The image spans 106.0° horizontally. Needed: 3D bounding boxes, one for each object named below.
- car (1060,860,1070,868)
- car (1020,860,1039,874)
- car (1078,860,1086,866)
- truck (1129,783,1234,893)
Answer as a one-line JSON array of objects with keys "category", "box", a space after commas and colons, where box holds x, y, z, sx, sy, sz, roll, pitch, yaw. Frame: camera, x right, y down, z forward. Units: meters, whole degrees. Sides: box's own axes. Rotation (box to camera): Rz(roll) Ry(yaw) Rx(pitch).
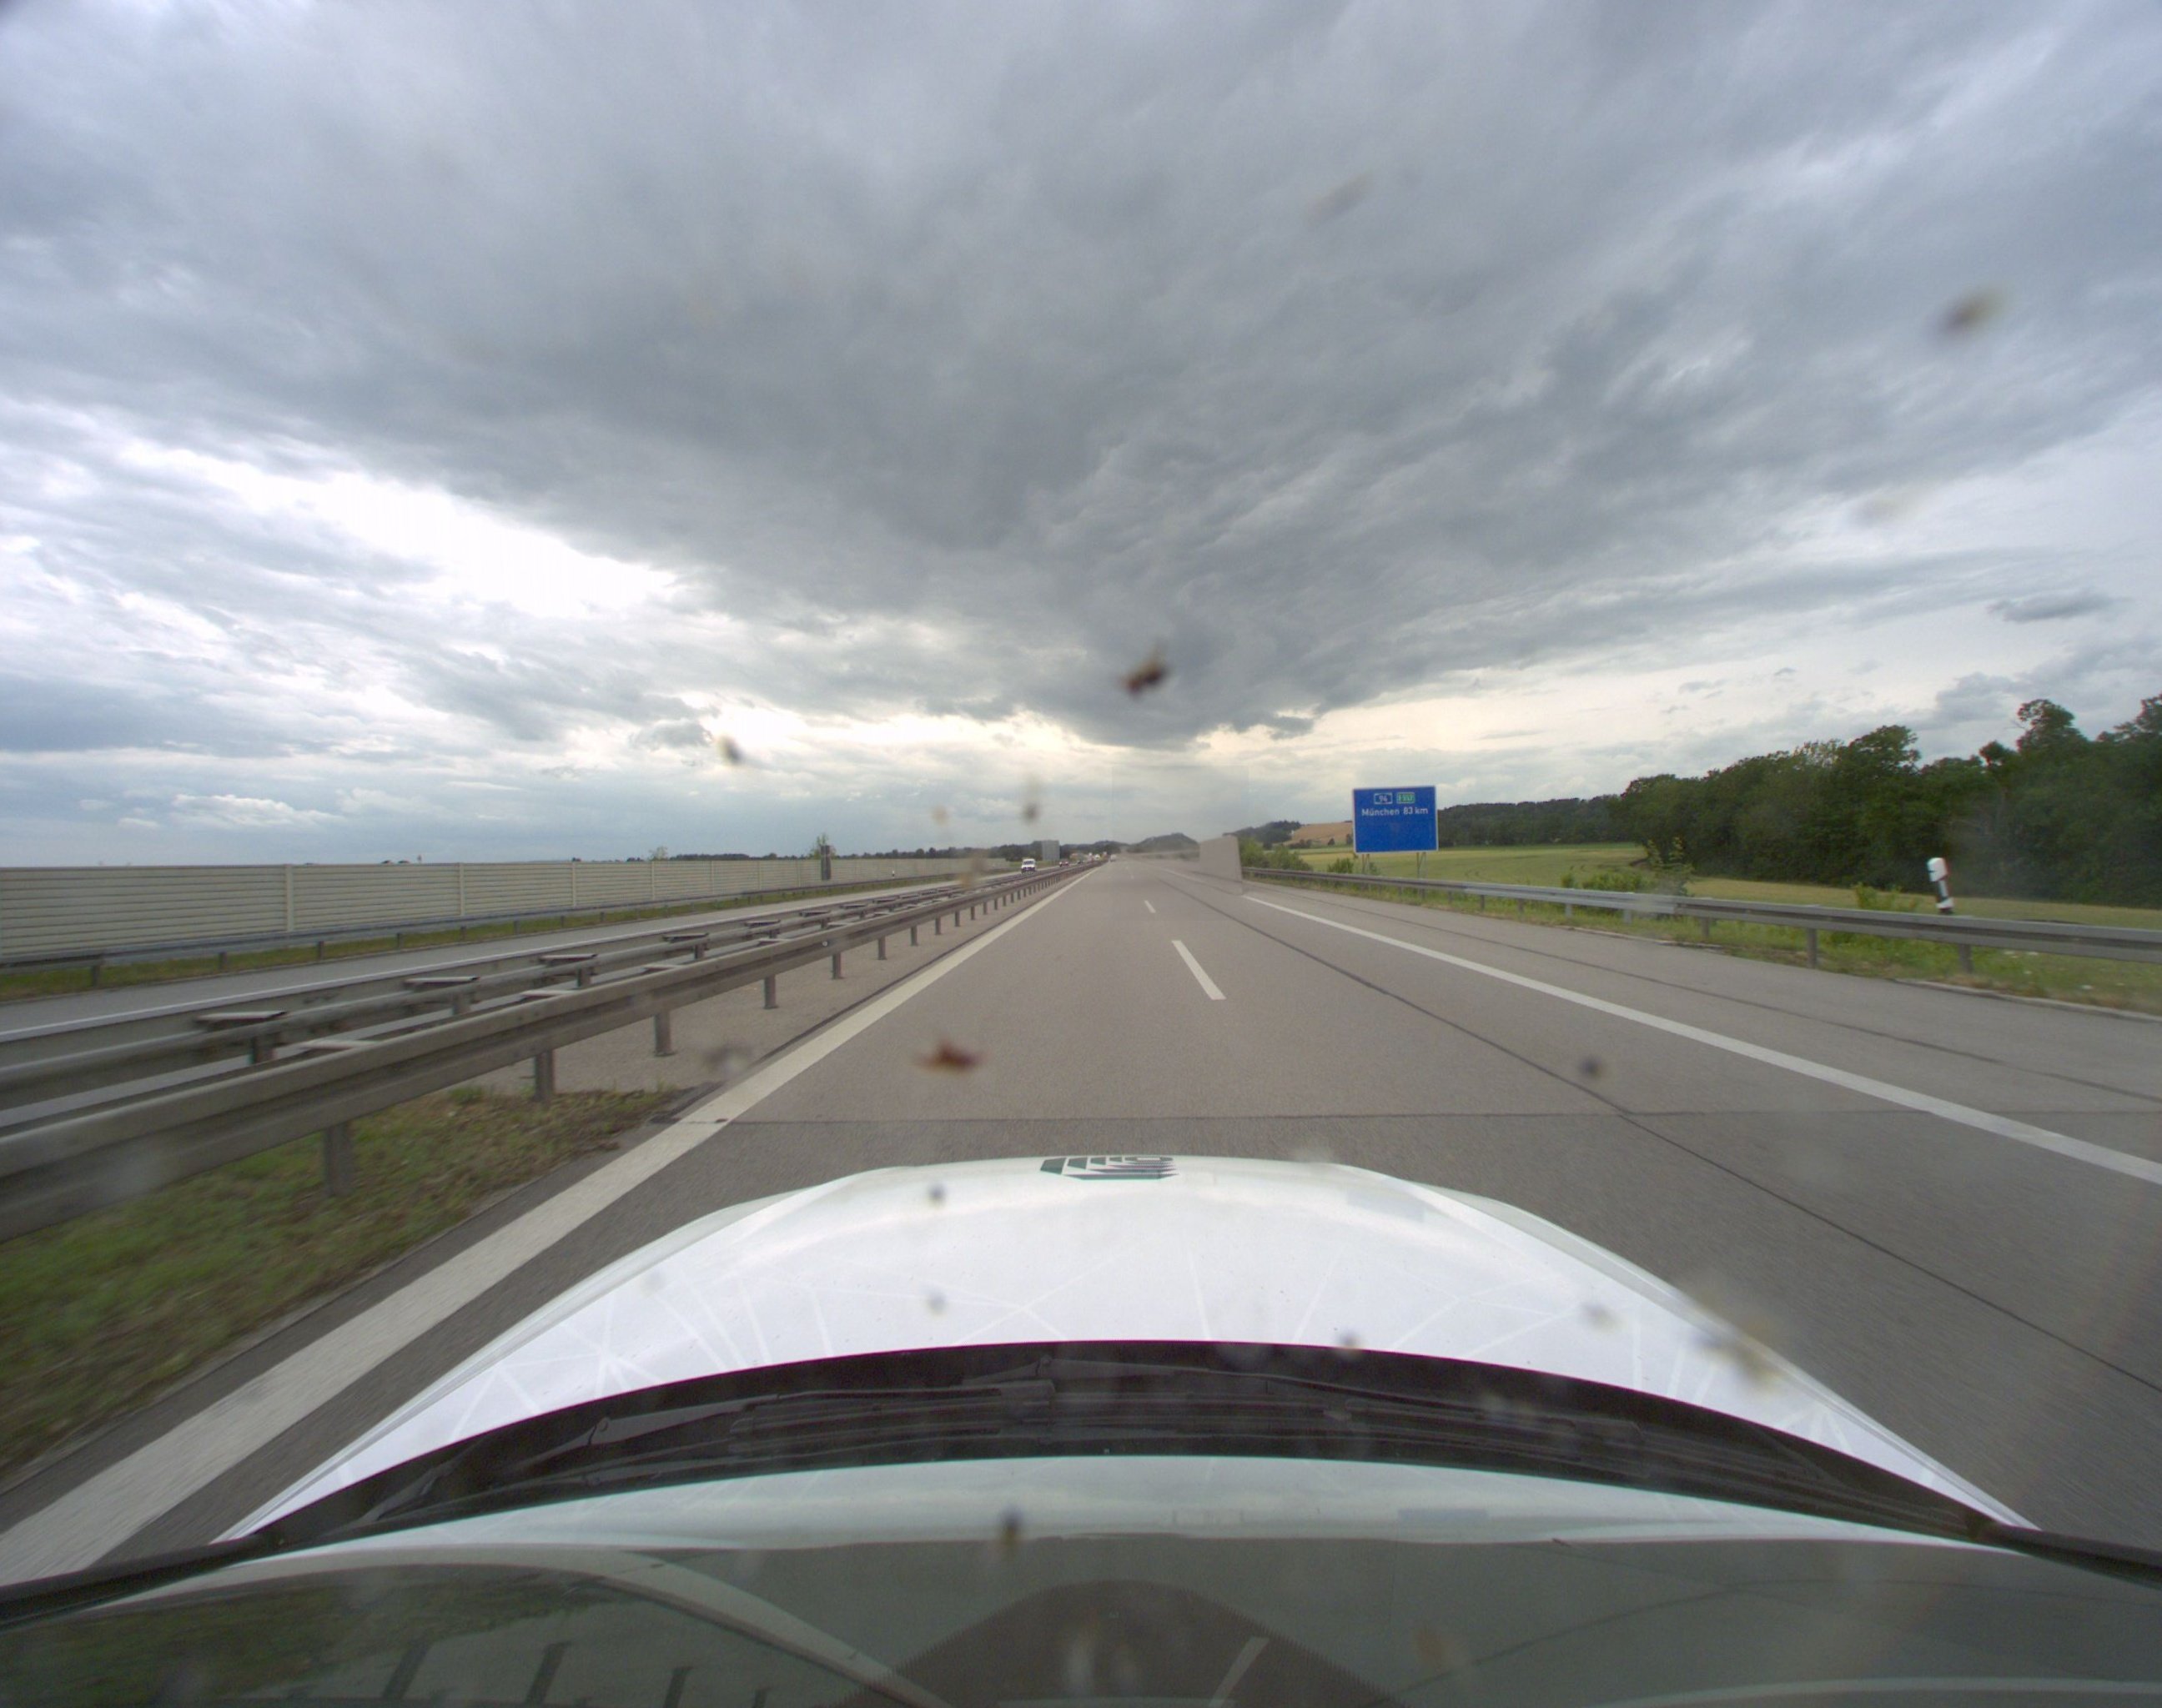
[{"category": "car", "box": [-3.430, 2.177, 173.399, 1.888, 1.631, 4.176, -4, -1, 2]}, {"category": "car", "box": [-6.801, 1.690, 108.013, 1.749, 1.742, 4.916, -5, 0, 2]}, {"category": "car", "box": [0.238, 2.517, 223.259, 1.888, 1.631, 4.176, -4, -1, 2]}, {"category": "truck", "box": [4.607, -0.660, 41.569, 3.659, 4.412, 16.345, -2, 0, 1]}]
